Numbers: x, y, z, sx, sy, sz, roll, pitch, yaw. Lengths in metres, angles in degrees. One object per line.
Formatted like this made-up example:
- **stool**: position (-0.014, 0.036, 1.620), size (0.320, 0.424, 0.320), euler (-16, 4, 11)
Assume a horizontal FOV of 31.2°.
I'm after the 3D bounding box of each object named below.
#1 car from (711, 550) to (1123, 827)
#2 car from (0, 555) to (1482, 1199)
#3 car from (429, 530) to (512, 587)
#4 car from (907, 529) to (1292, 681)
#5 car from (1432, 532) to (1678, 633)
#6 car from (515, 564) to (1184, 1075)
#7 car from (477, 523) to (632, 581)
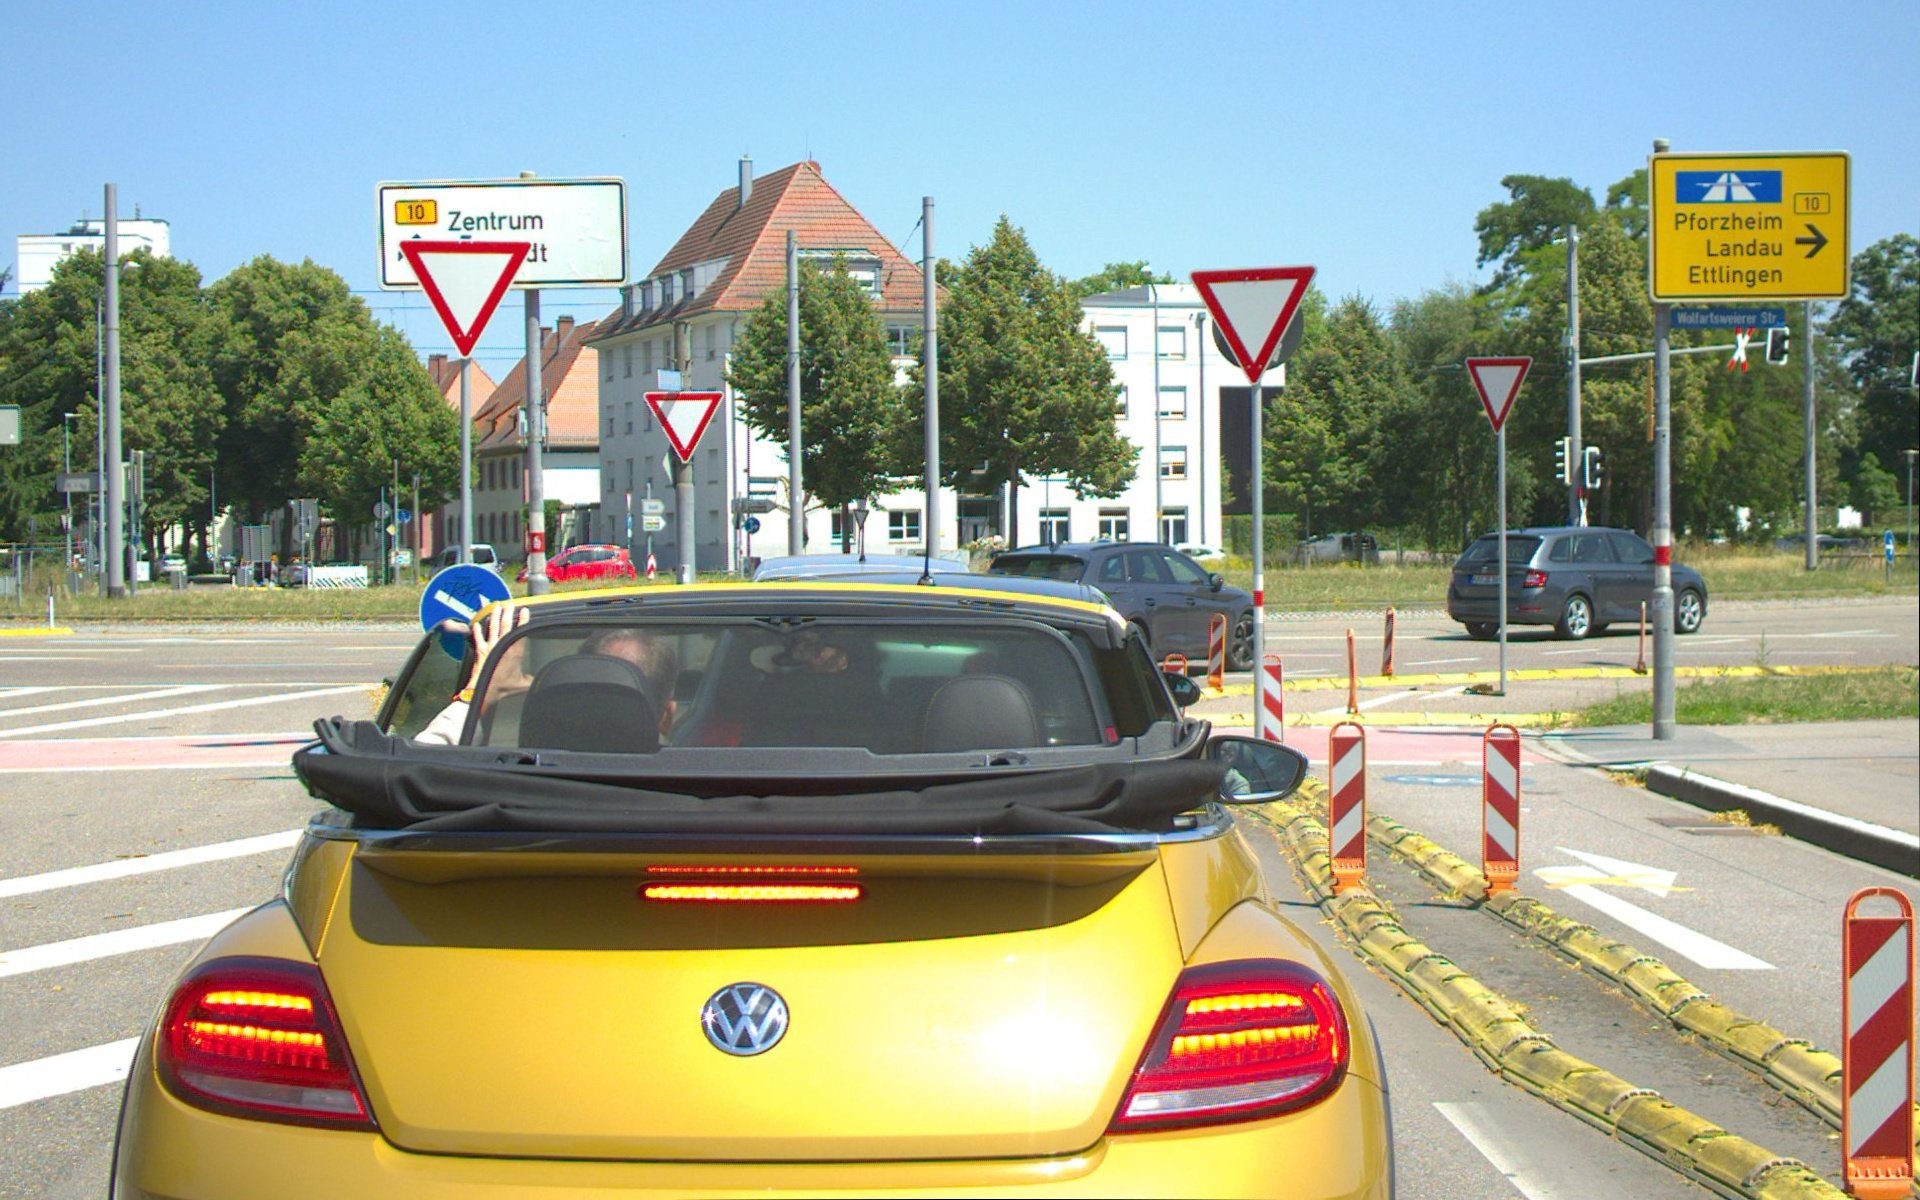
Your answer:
- **car**: position (-0.283, 0.426, 19.511), size (2.065, 1.377, 4.258), euler (1, 1, -2)
- **car**: position (-0.297, 0.676, 6.213), size (1.765, 1.476, 4.258), euler (1, 1, -1)
- **car**: position (-18.232, -1.550, 127.919), size (1.987, 2.063, 5.330), euler (1, 1, -20)
- **car**: position (1.561, 0.013, 36.481), size (2.069, 1.476, 4.535), euler (0, 1, 33)
- **car**: position (7.758, -0.224, 44.729), size (3.208, 1.254, 1.438), euler (0, 1, -41)
- **car**: position (-0.333, 0.592, 11.753), size (1.851, 1.361, 4.258), euler (-1, 1, -1)
- **car**: position (-12.159, -1.432, 103.039), size (4.331, 1.648, 1.902), euler (1, 0, -15)
